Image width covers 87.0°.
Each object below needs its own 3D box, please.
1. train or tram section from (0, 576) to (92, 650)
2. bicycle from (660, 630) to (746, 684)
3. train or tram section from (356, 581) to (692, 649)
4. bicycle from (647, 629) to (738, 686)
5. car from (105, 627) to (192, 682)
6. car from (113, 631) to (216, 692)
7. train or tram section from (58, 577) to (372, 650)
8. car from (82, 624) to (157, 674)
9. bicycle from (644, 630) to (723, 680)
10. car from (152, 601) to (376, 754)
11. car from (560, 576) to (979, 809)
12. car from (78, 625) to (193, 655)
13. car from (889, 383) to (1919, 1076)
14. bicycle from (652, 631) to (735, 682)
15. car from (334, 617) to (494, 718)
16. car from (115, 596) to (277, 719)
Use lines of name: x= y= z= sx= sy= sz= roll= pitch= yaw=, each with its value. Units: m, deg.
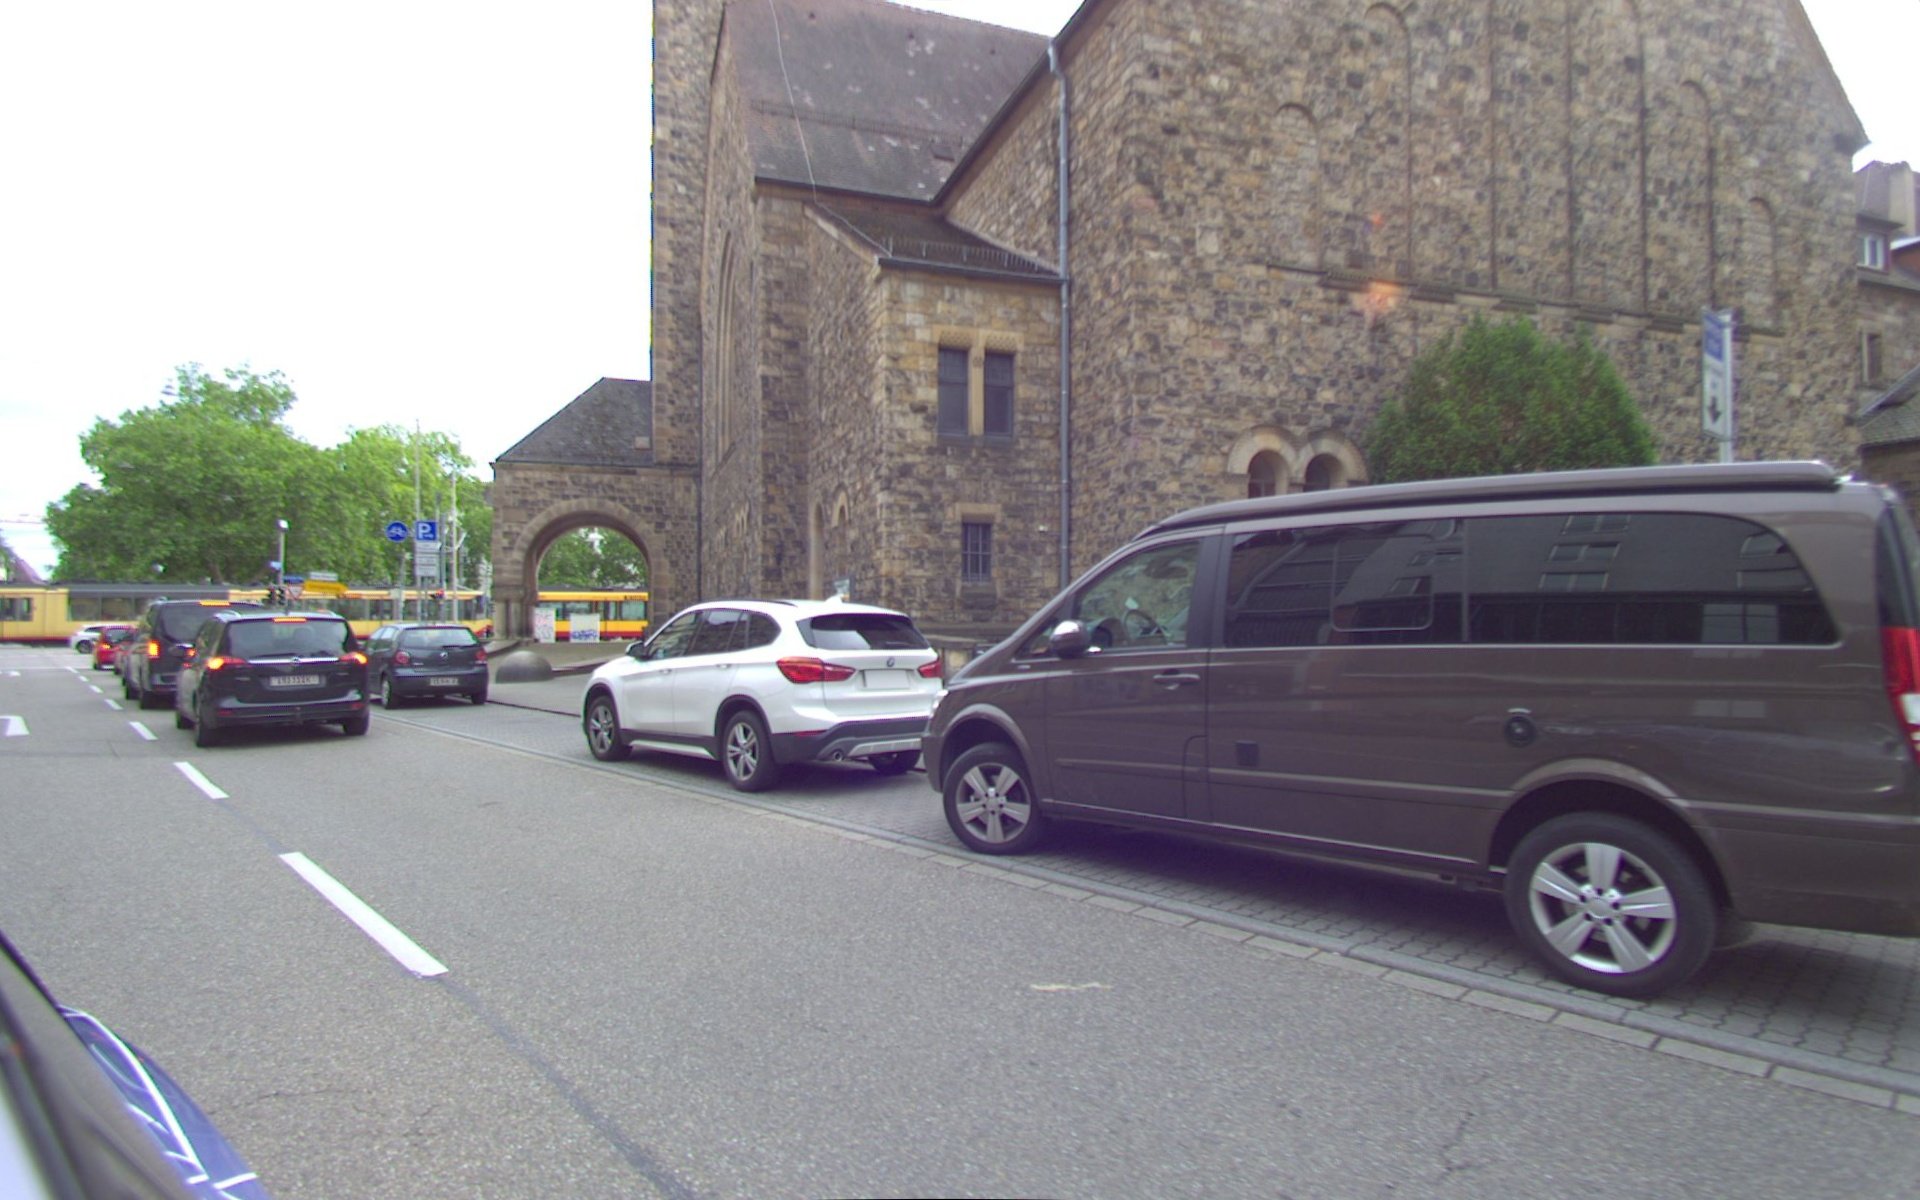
train or tram section: x=-58.287 y=0.682 z=56.392 sx=14.781 sy=4.124 sz=3.666 roll=1 pitch=-1 yaw=-17
bicycle: x=-5.807 y=1.267 z=22.909 sx=1.753 sy=1.175 sz=0.744 roll=1 pitch=-2 yaw=-31
train or tram section: x=-27.663 y=1.032 z=65.844 sx=19.606 sy=4.124 sz=3.639 roll=1 pitch=-1 yaw=-17
bicycle: x=-5.764 y=1.224 z=21.838 sx=1.753 sy=1.161 sz=0.744 roll=1 pitch=-2 yaw=-31
car: x=-23.536 y=1.559 z=29.314 sx=1.583 sy=1.468 sz=3.721 roll=4 pitch=-4 yaw=-44
car: x=-19.128 y=1.448 z=24.272 sx=1.683 sy=1.296 sz=4.048 roll=4 pitch=-3 yaw=-41
train or tram section: x=-44.130 y=0.844 z=60.736 sx=14.781 sy=4.124 sz=3.592 roll=1 pitch=-1 yaw=-17
car: x=-27.906 y=1.642 z=33.559 sx=1.629 sy=1.540 sz=3.897 roll=4 pitch=-5 yaw=-43
bicycle: x=-6.619 y=1.297 z=24.261 sx=1.754 sy=1.134 sz=0.569 roll=1 pitch=-2 yaw=-31
car: x=-9.398 y=0.926 z=13.496 sx=1.823 sy=1.697 sz=4.553 roll=1 pitch=-2 yaw=-43
car: x=-2.027 y=0.752 z=9.677 sx=1.821 sy=1.701 sz=4.436 roll=1 pitch=-2 yaw=-44
car: x=-40.549 y=1.957 z=49.877 sx=3.931 sy=1.406 sz=1.886 roll=0 pitch=-1 yaw=-18
car: x=2.053 y=0.439 z=5.216 sx=1.989 sy=2.029 sz=5.187 roll=1 pitch=-2 yaw=-44
bicycle: x=-6.211 y=1.295 z=23.612 sx=1.753 sy=1.139 sz=0.663 roll=1 pitch=-2 yaw=-31
car: x=-9.860 y=1.116 z=18.158 sx=1.627 sy=1.520 sz=3.775 roll=-1 pitch=1 yaw=-43
car: x=-14.307 y=1.003 z=18.819 sx=1.889 sy=1.969 sz=5.289 roll=1 pitch=-2 yaw=-43
